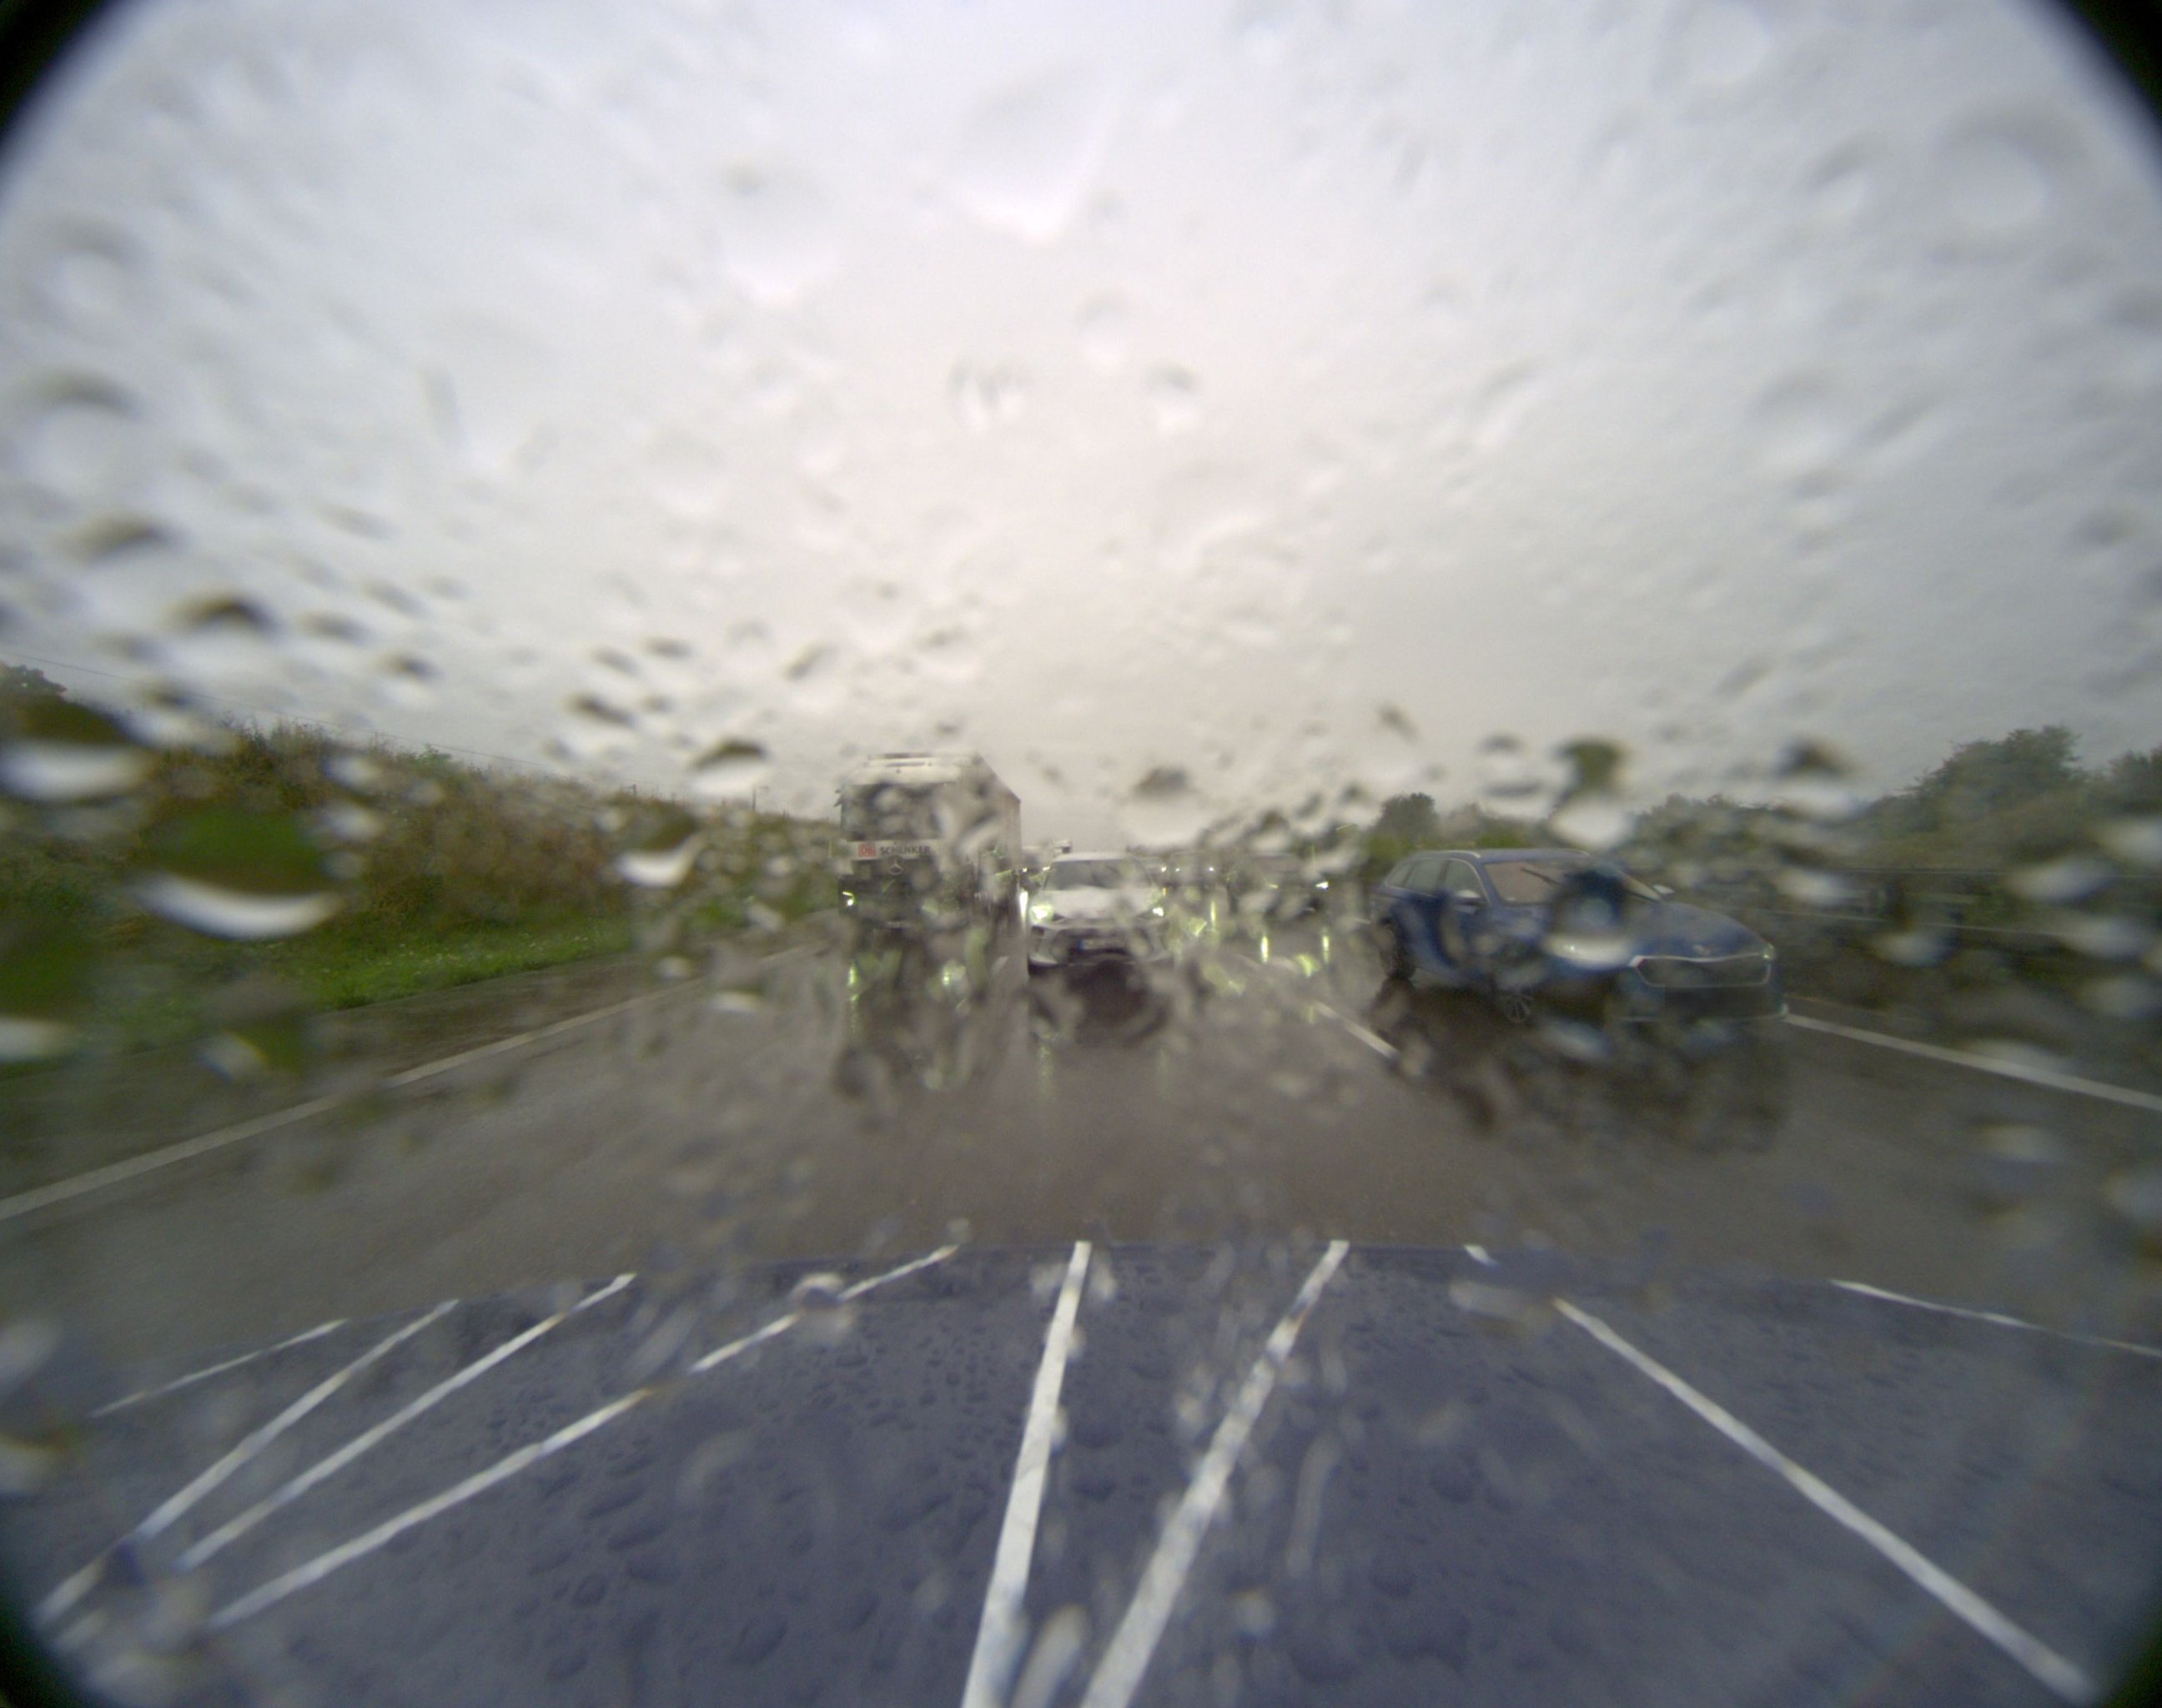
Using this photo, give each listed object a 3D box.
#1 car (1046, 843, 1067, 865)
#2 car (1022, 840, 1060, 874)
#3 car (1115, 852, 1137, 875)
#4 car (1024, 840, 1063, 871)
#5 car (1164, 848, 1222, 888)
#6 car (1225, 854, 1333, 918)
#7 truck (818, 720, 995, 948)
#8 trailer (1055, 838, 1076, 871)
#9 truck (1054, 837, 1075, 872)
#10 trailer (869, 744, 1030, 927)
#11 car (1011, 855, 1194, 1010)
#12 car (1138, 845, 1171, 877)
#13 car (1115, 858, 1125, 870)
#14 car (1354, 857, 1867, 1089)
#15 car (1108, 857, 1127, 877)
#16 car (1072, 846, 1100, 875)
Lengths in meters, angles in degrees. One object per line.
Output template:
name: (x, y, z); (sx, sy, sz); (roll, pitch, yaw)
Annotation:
car: (-2.517, 0.011, 78.742); (1.998, 2.231, 4.000); (-2, 0, 0)
car: (-2.497, 0.130, 48.241); (1.946, 2.002, 4.446); (-2, 1, 2)
car: (4.106, 0.879, 69.852); (1.737, 2.002, 4.223); (-2, 0, 0)
car: (-2.628, 0.074, 54.675); (2.260, 2.002, 4.269); (-2, 1, 3)
car: (4.840, 0.572, 33.337); (1.889, 1.622, 4.269); (-2, 0, 0)
car: (4.940, 0.732, 19.560); (1.613, 1.428, 4.370); (-2, 0, 0)
truck: (-3.597, -0.409, 16.944); (2.633, 4.229, 5.042); (-2, 1, 0)
trailer: (-2.259, 0.083, 111.713); (2.628, 4.635, 9.221); (-2, 0, 1)
truck: (-2.319, 0.060, 106.565); (2.628, 4.635, 4.290); (-2, 0, 1)
trailer: (-3.596, -0.519, 25.114); (2.633, 4.224, 14.174); (-2, 1, 0)
car: (0.239, 0.834, 10.058); (1.893, 1.578, 4.000); (-2, 0, 0)
car: (4.782, 0.423, 49.877); (1.888, 2.002, 4.270); (-2, 0, 3)
car: (5.734, 1.479, 111.974); (1.458, 1.540, 2.804); (0, 2, 1)
car: (4.331, 0.802, 7.305); (1.791, 1.467, 4.511); (-2, 0, 0)
car: (3.855, 1.320, 80.781); (1.737, 2.002, 4.223); (-2, 0, 0)
car: (0.407, 0.455, 56.696); (1.998, 2.002, 4.000); (-2, 0, 1)
